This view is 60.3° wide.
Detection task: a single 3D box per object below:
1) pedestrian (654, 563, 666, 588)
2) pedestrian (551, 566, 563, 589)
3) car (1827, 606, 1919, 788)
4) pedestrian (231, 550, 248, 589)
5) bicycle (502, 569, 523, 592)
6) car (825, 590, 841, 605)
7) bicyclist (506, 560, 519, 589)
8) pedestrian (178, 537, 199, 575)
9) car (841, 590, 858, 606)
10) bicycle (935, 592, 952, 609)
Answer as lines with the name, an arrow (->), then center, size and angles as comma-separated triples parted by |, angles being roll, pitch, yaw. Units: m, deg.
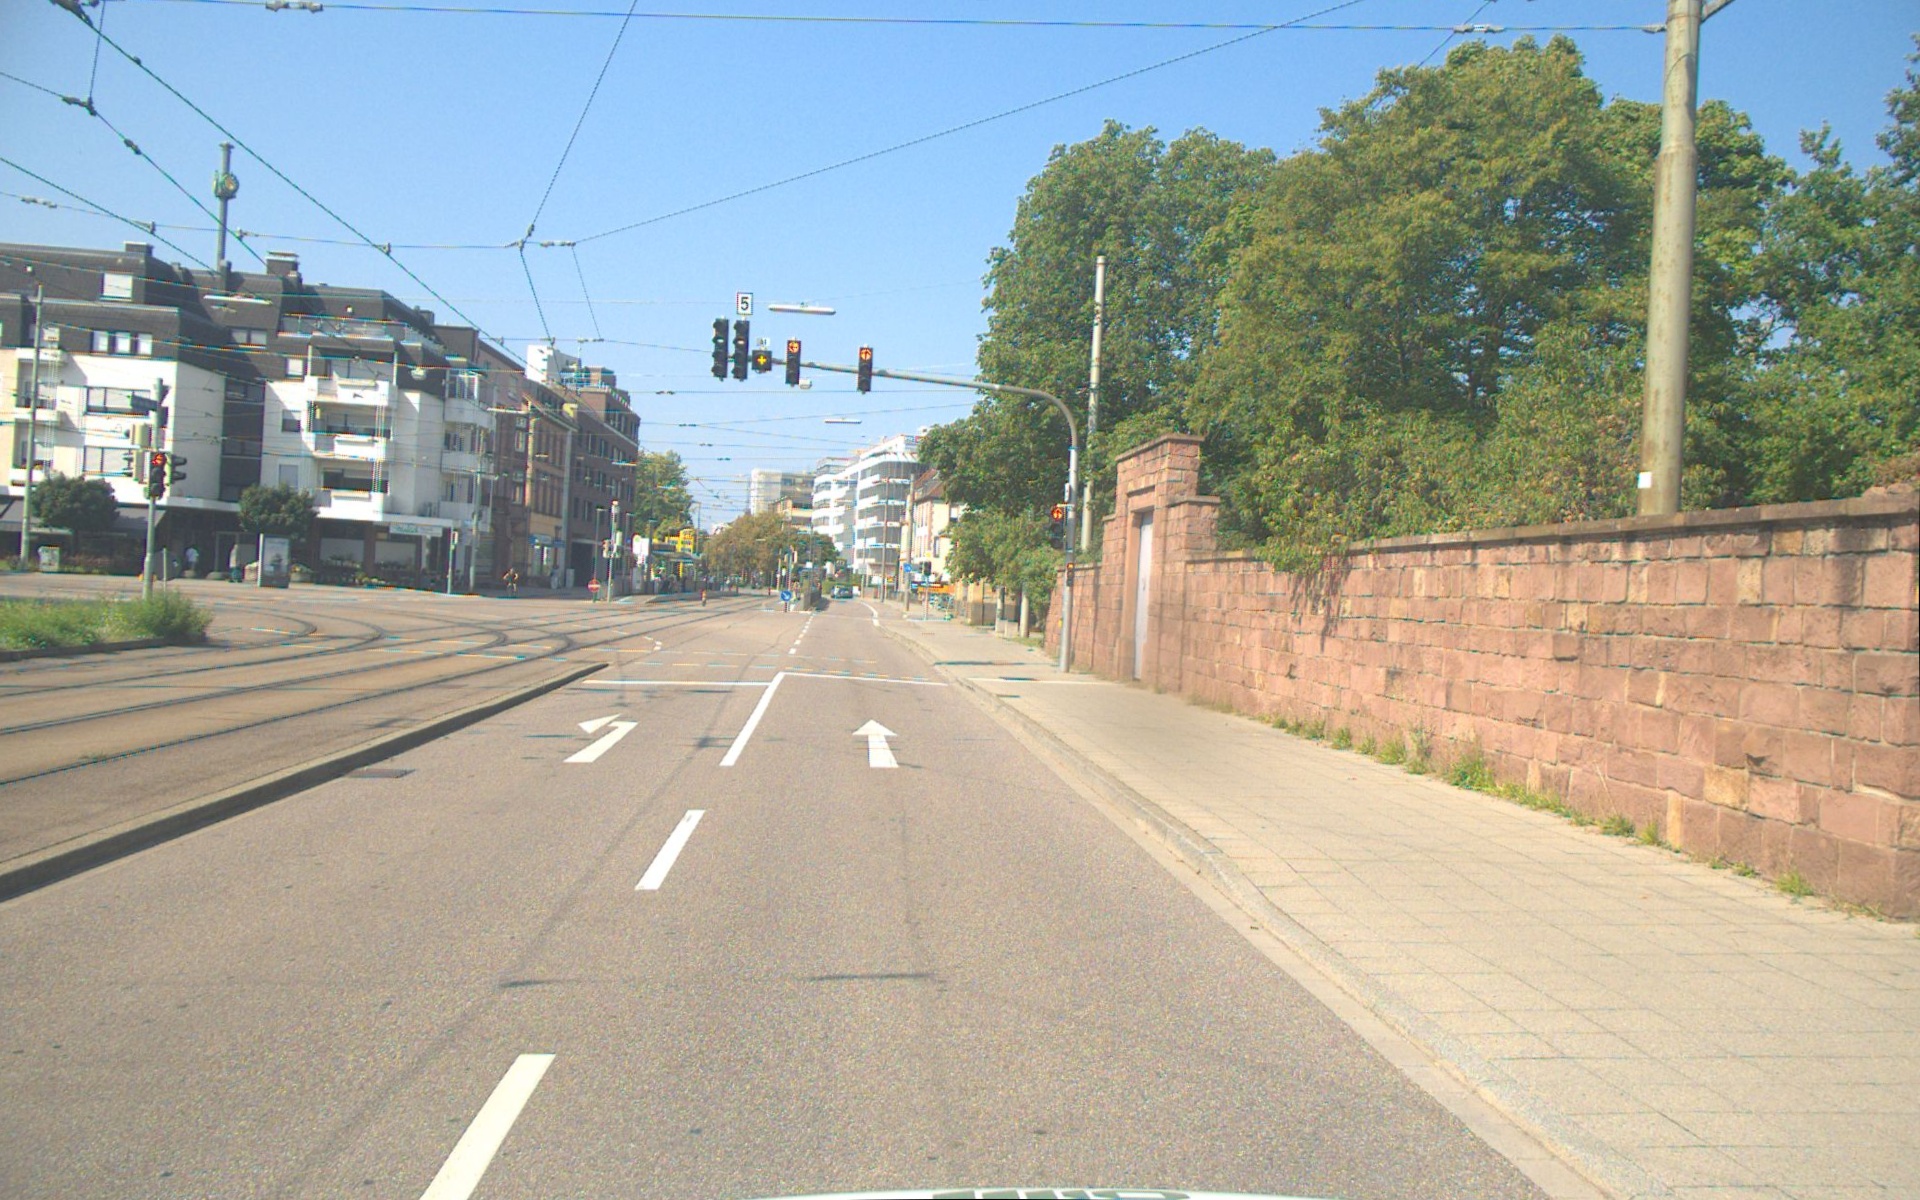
pedestrian -> -21.096, -1.713, 116.368 | 0.694, 1.753, 0.798 | 1, 0, -4
pedestrian -> -28.948, -1.599, 118.847 | 0.473, 1.587, 0.887 | 4, -1, 7
car -> 9.937, 0.941, 14.351 | 3.890, 1.489, 1.776 | 4, 1, -6
pedestrian -> -33.229, -1.420, 76.268 | 0.594, 1.776, 0.558 | 1, 0, -38
bicycle -> -23.937, -1.045, 88.546 | 0.563, 1.200, 2.207 | 1, 0, -2
car -> -16.427, -0.315, 214.097 | 1.971, 1.891, 3.998 | 1, 0, -3
bicyclist -> -23.927, -1.375, 88.394 | 0.557, 1.549, 0.489 | 1, 0, -3
pedestrian -> -36.853, -2.109, 79.018 | 0.666, 1.771, 0.697 | 1, 0, -3
car -> -13.933, -0.281, 208.295 | 1.971, 1.891, 3.998 | 1, 0, -3
bicycle -> -1.173, 0.037, 119.649 | 0.718, 1.152, 2.832 | 0, 0, -11
